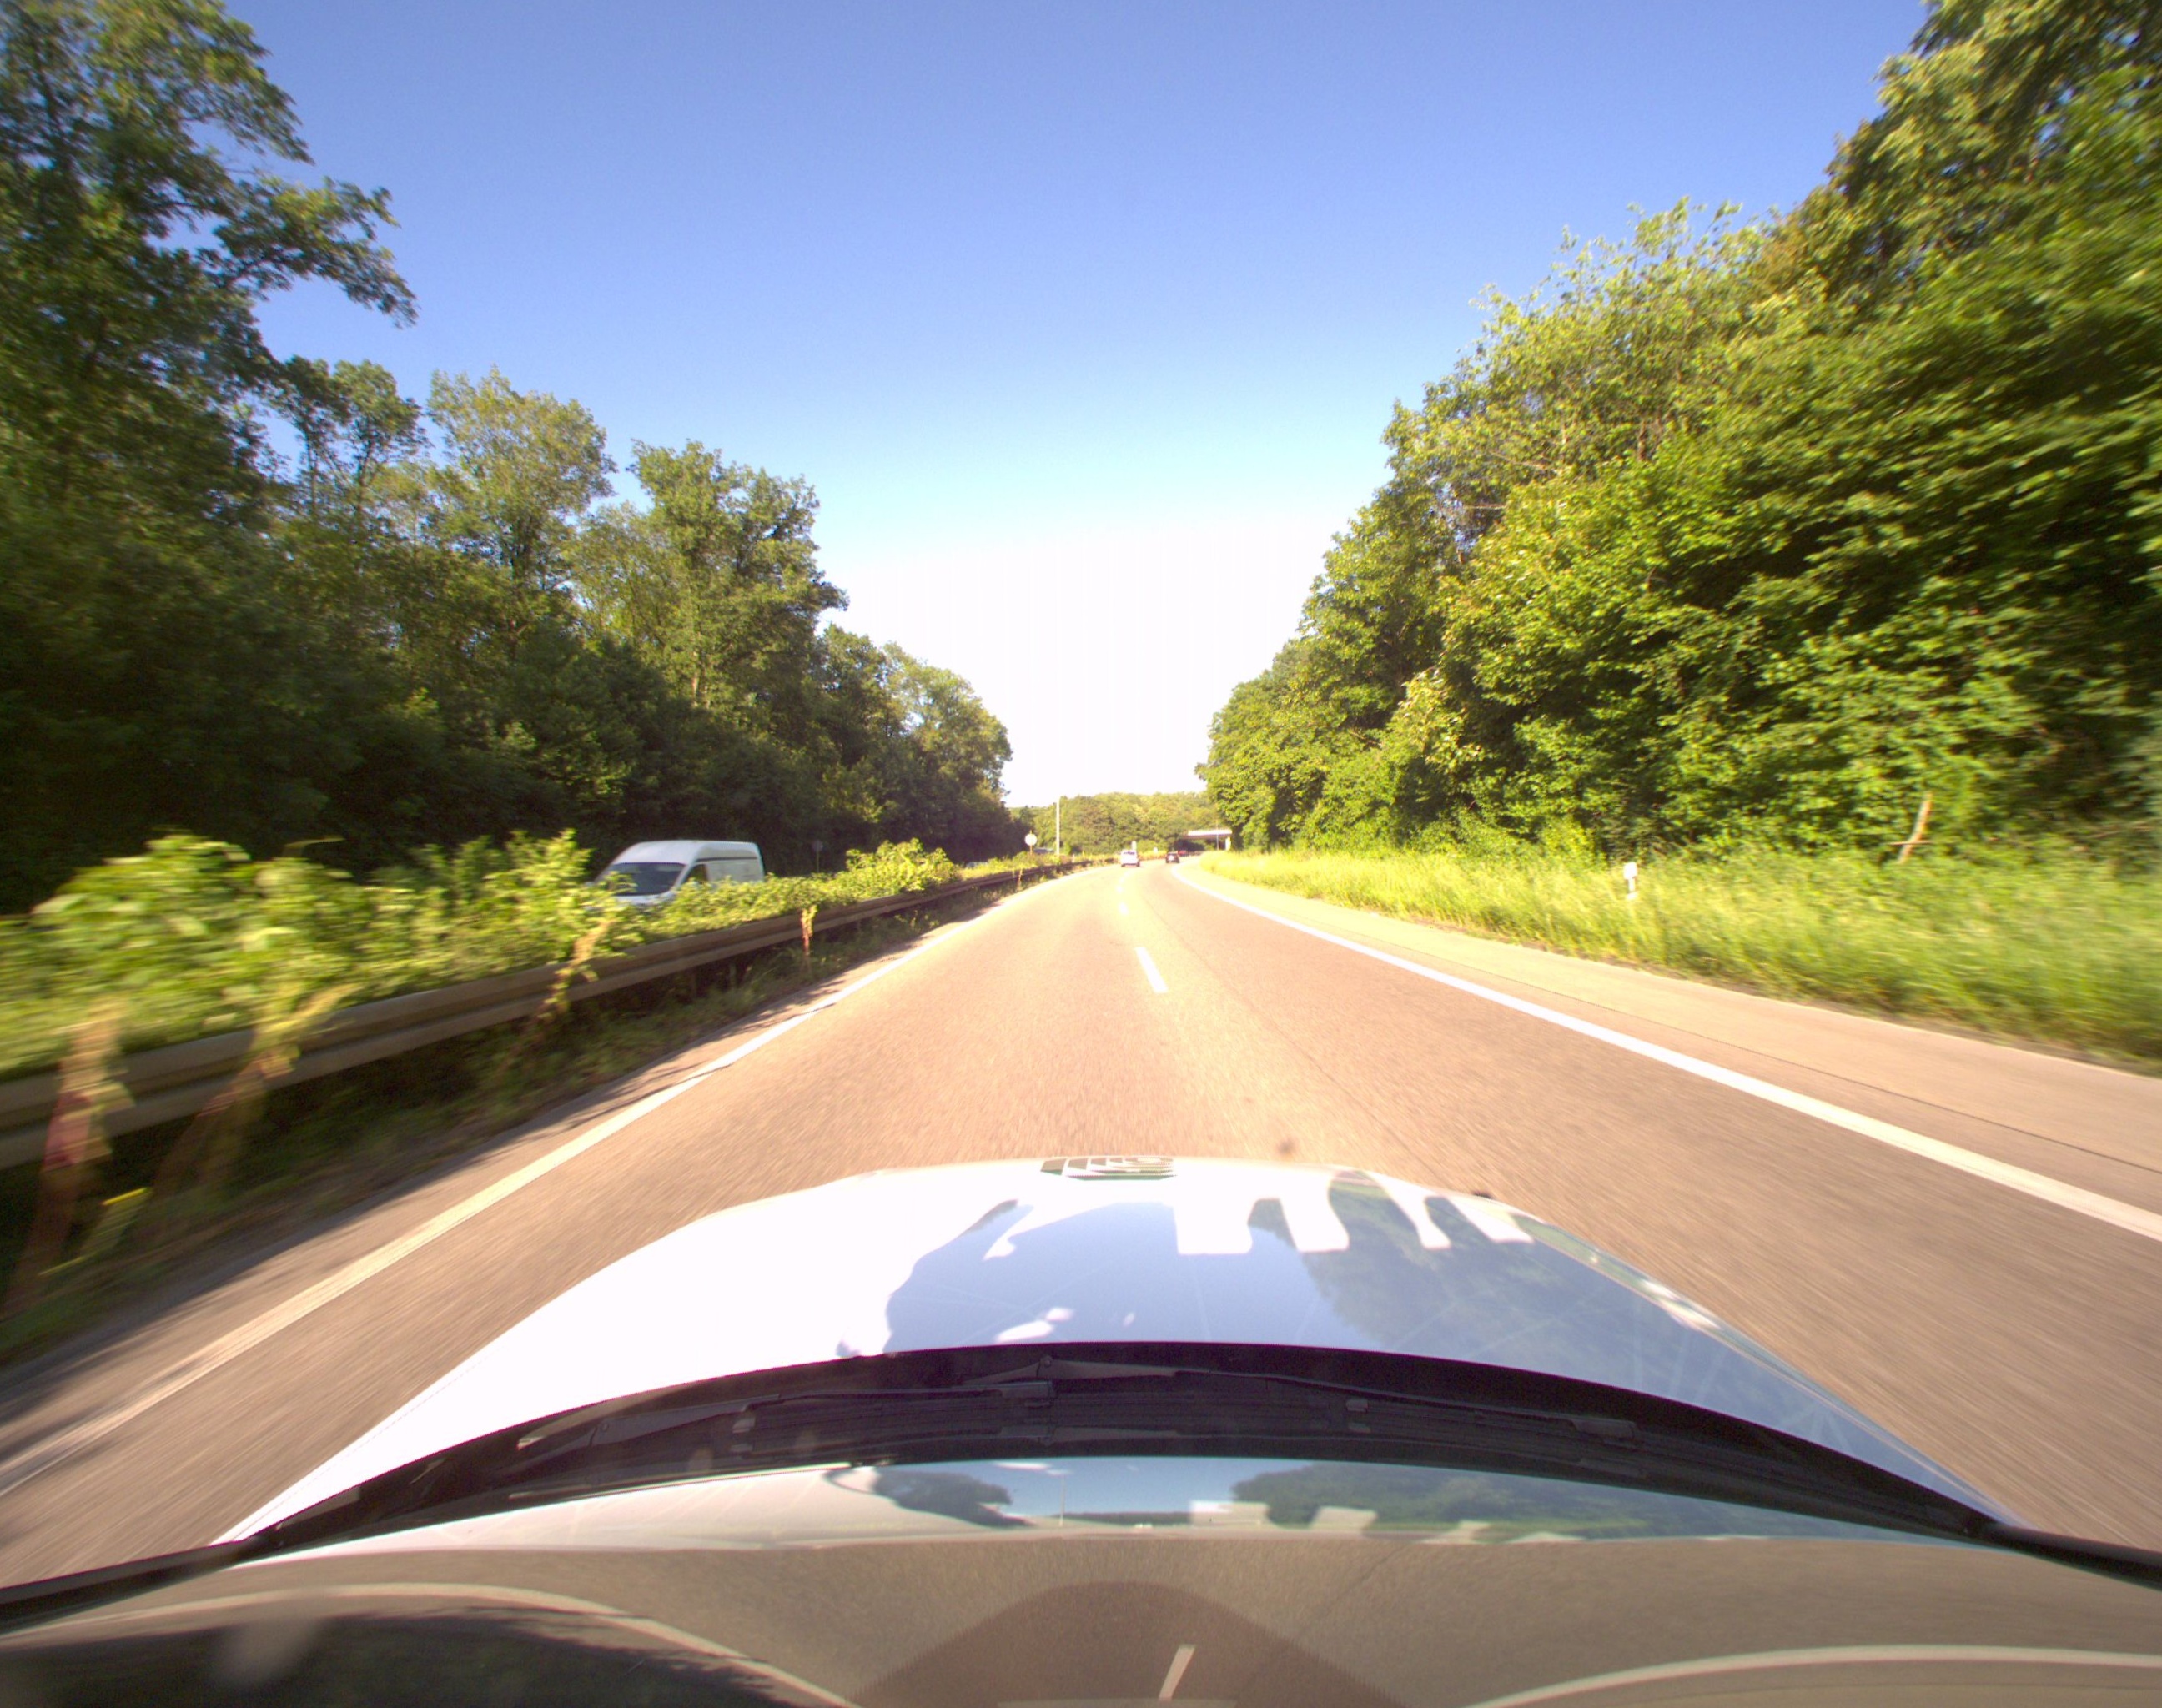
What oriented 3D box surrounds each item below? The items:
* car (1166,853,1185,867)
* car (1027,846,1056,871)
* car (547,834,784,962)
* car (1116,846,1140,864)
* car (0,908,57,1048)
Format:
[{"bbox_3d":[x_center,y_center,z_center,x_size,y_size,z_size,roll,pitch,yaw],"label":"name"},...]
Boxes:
[{"bbox_3d":[13.220,0.831,113.995,1.937,1.782,4.605,-1,0,14],"label":"car"},{"bbox_3d":[-4.096,0.448,85.100,2.064,2.574,5.797,-1,0,7],"label":"car"},{"bbox_3d":[-8.402,0.791,17.298,1.907,2.252,5.787,-1,0,2],"label":"car"},{"bbox_3d":[4.991,0.123,87.321,1.948,1.782,4.580,0,0,-4],"label":"car"},{"bbox_3d":[-12.157,1.303,6.553,1.755,1.424,4.779,-1,0,0],"label":"car"}]
